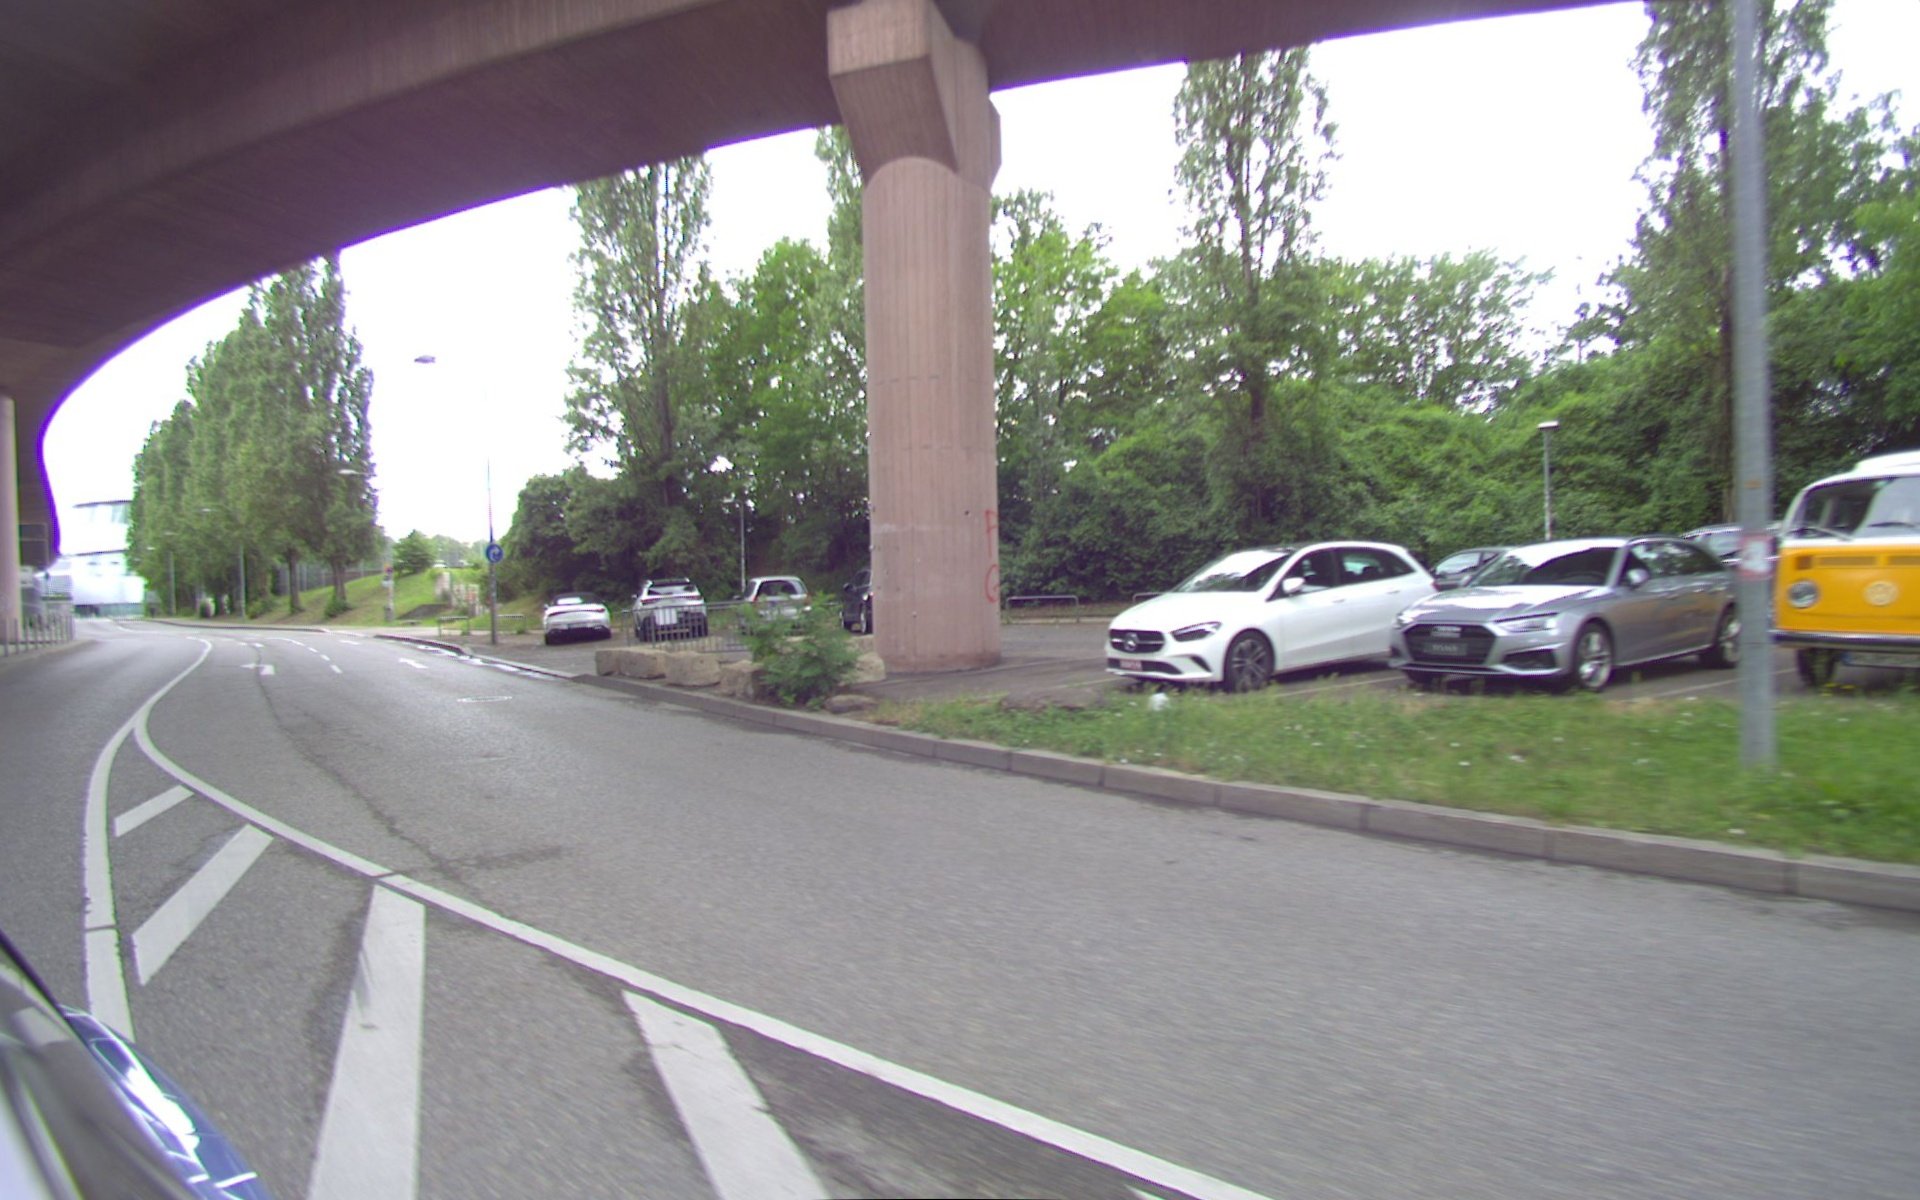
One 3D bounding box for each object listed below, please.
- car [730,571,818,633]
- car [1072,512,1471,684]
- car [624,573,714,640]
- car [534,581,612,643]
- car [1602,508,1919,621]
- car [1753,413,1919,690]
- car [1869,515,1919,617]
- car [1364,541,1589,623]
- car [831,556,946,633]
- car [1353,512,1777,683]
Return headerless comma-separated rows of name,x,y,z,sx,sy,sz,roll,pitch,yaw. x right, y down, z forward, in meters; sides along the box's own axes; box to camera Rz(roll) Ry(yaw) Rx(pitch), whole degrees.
car,-4.966,0.034,26.669,1.762,1.465,3.759,-1,1,-18
car,3.696,-0.102,11.878,4.320,1.618,1.961,-4,1,-29
car,-8.352,0.112,28.754,1.966,1.594,4.415,-5,3,-21
car,-11.829,0.296,30.921,1.966,1.490,4.845,-5,4,-21
car,13.587,-0.507,17.330,1.869,1.688,4.166,0,-1,-16
car,9.195,-0.457,9.130,4.495,2.127,1.856,-3,1,-34
car,17.220,-0.581,15.747,1.869,1.688,4.167,0,-1,-18
car,10.004,-0.298,19.897,1.620,1.452,3.747,0,-1,-24
car,-1.864,-0.152,25.074,1.831,1.704,4.177,-2,1,-18
car,6.311,-0.105,10.471,4.186,1.381,2.006,-4,1,-31
